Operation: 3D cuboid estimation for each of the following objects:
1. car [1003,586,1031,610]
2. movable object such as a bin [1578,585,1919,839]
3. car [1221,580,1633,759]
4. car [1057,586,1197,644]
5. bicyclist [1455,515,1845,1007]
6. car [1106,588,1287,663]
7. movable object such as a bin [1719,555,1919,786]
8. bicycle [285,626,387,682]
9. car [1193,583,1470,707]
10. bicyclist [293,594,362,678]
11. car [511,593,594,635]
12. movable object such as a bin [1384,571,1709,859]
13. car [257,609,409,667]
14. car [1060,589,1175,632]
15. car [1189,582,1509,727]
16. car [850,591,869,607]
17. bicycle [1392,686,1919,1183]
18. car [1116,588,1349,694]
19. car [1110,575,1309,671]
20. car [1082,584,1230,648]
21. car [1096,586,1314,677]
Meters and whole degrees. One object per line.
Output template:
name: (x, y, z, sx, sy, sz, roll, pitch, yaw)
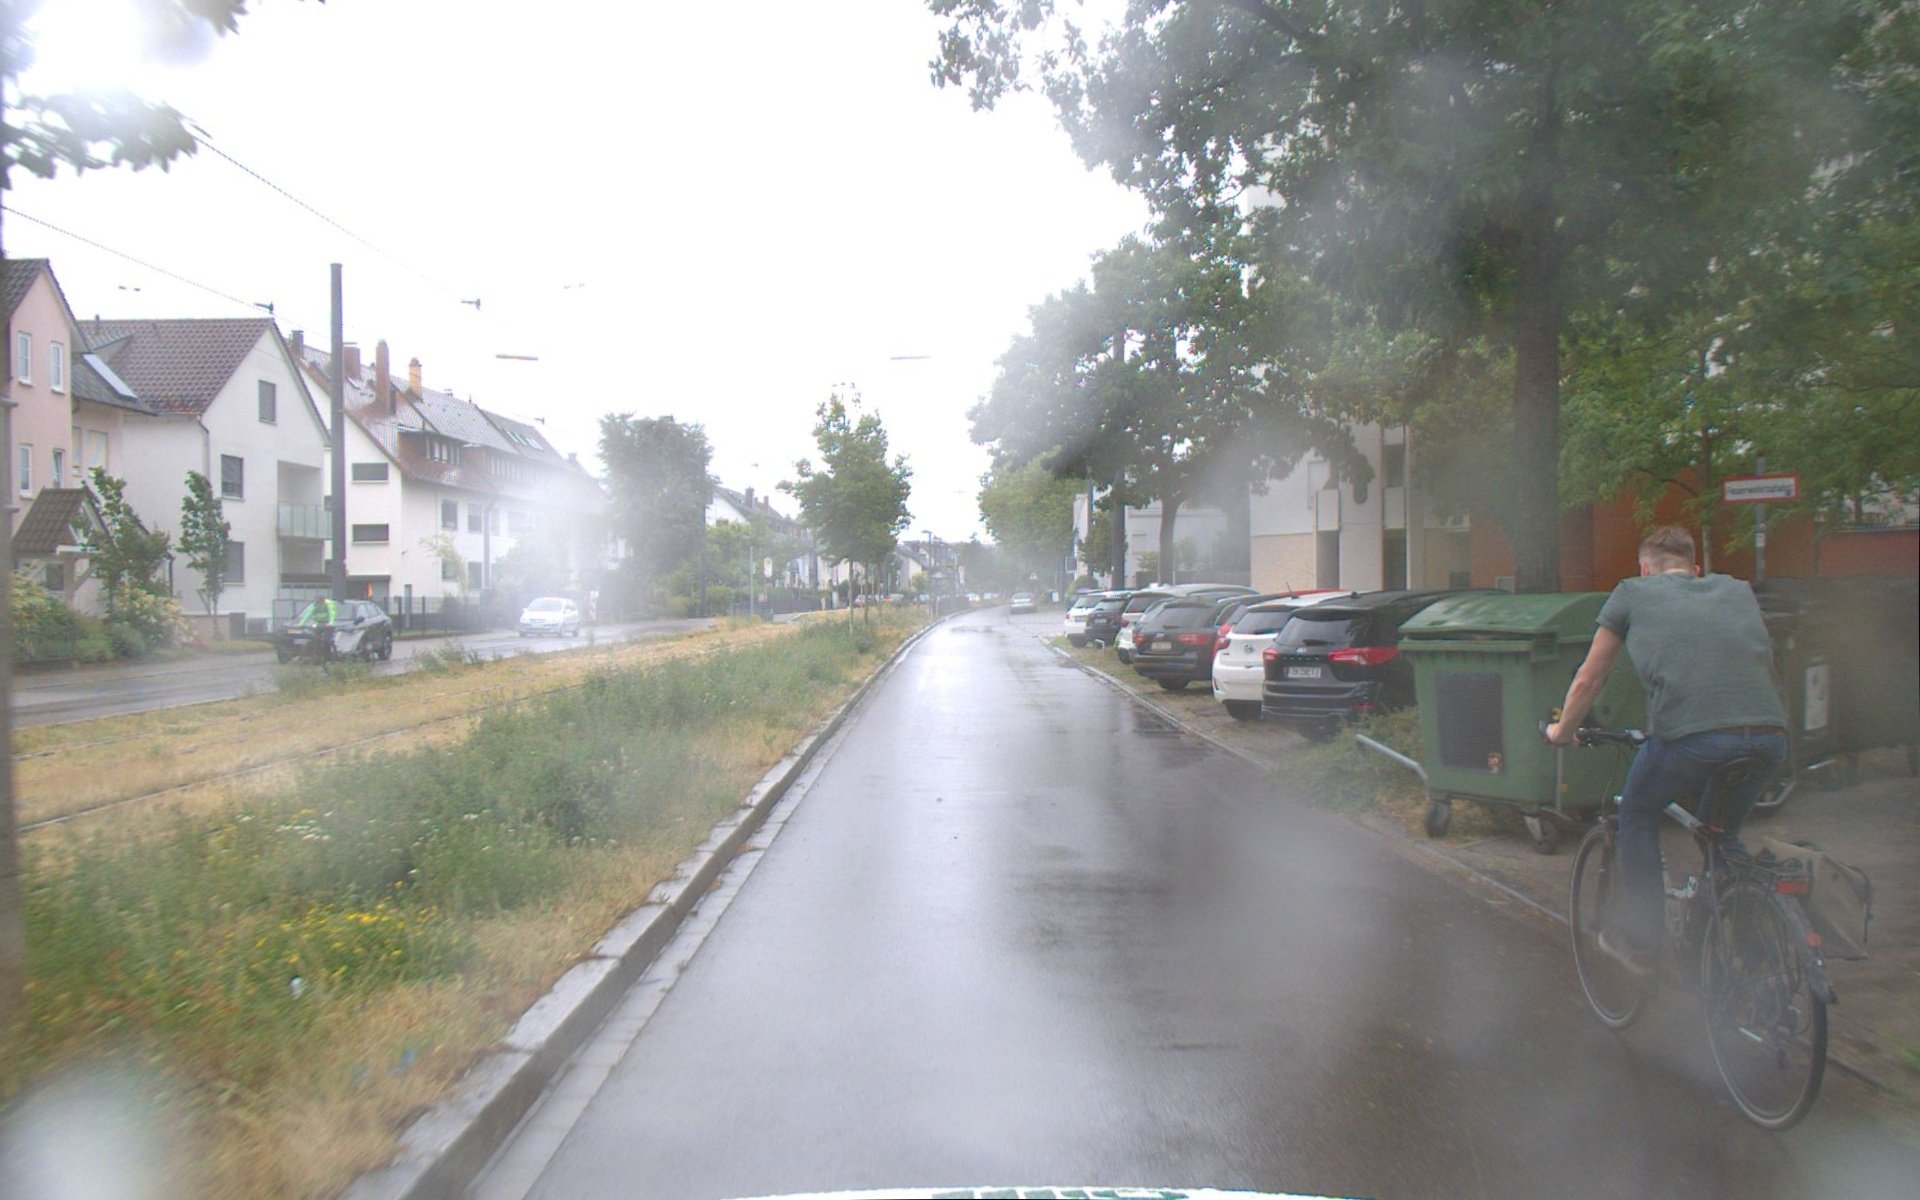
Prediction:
car: (4.039, -0.149, 117.309, 1.795, 1.614, 4.000, -1, 0, -1)
movable object such as a bin: (5.037, 0.631, 10.343, 1.658, 1.349, 1.392, -4, 1, -22)
car: (4.812, 0.614, 16.834, 4.180, 1.545, 1.854, -1, 0, -36)
car: (4.793, 0.410, 47.189, 3.999, 1.539, 1.564, -1, 0, -38)
bicyclist: (2.244, 0.480, 5.523, 0.793, 1.458, 1.059, -1, 0, -3)
car: (5.188, 0.519, 36.012, 3.999, 1.471, 1.564, -1, 0, -38)
movable object such as a bin: (6.393, 0.468, 11.980, 1.230, 1.546, 1.078, -2, 0, -29)
bicycle: (-13.341, 1.133, 35.468, 0.997, 1.045, 3.196, -1, 0, -1)
car: (5.282, 0.577, 23.336, 3.995, 1.545, 1.565, -1, 0, -36)
bicyclist: (-13.320, 0.744, 34.849, 0.998, 1.715, 1.091, -1, 0, -1)
car: (-15.656, 0.520, 63.762, 1.857, 1.495, 4.689, 1, 0, 2)
movable object such as a bin: (3.507, 0.637, 10.004, 1.110, 1.482, 1.392, -7, 2, -22)
car: (-15.656, 0.911, 41.588, 1.857, 1.266, 4.689, 1, 0, 2)
car: (5.485, 0.349, 57.245, 3.999, 1.393, 1.564, -1, 0, -38)
car: (4.801, 0.594, 20.188, 3.995, 1.545, 1.565, -1, 0, -36)
car: (-11.087, -0.126, 182.857, 1.805, 1.701, 4.000, -1, 0, -1)
bicycle: (2.259, 0.930, 5.559, 0.793, 1.116, 2.515, -1, 0, -4)
car: (4.313, 0.593, 25.812, 1.559, 1.468, 4.012, -1, 0, 45)
car: (4.968, 0.413, 32.688, 3.999, 1.733, 1.564, -1, 0, -38)
car: (5.270, 0.408, 44.308, 3.999, 1.567, 1.564, -1, 0, -38)
car: (4.464, 0.529, 29.880, 3.999, 1.468, 1.564, -1, 0, -38)
